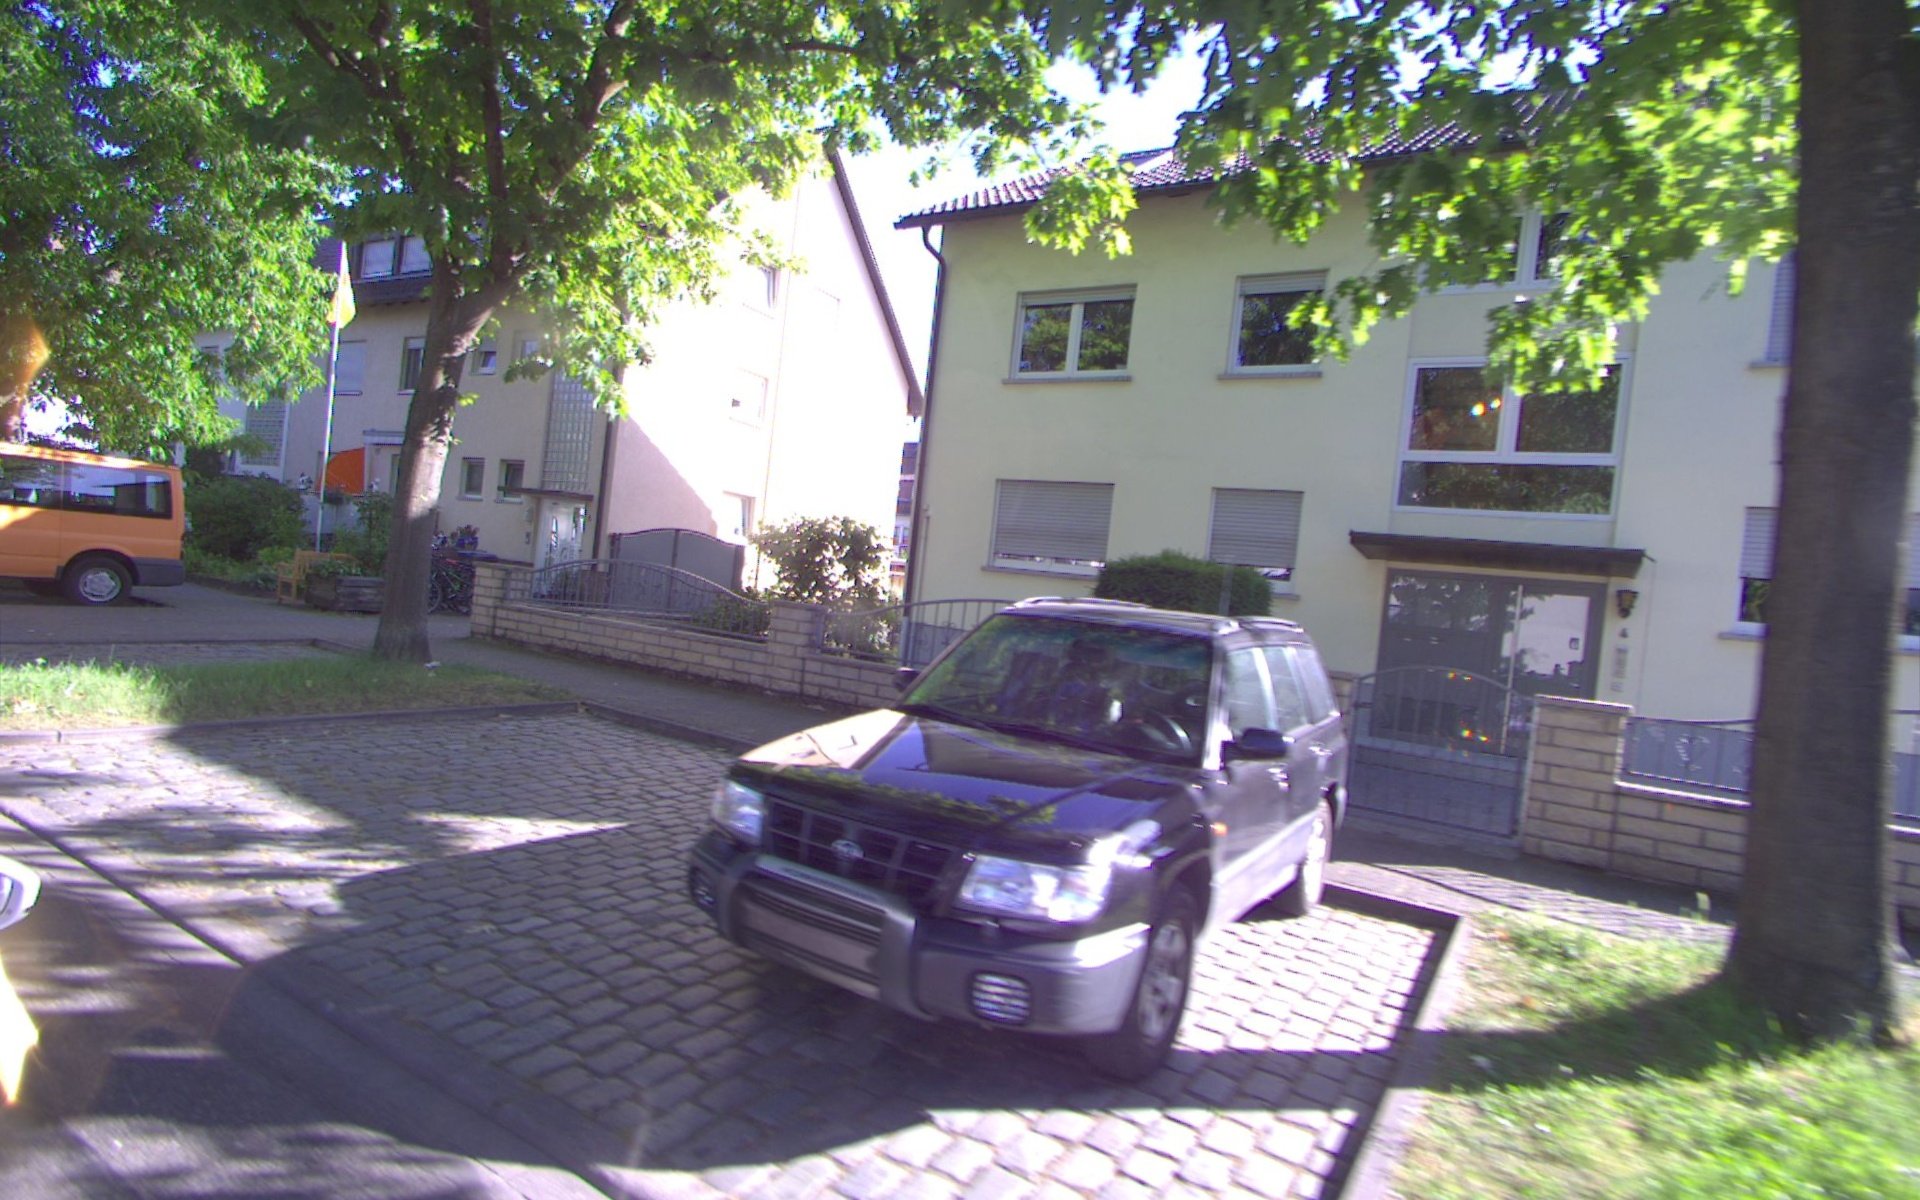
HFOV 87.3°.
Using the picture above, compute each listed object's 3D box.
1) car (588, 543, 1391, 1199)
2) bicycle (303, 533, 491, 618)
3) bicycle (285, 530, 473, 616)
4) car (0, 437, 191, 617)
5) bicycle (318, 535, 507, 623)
[{"bbox_3d":[0.686,0.781,4.799,1.836,1.580,4.341,7,1,31],"label":"car"},{"bbox_3d":[-9.440,-0.367,17.055,0.460,1.253,2.859,6,1,32],"label":"bicycle"},{"bbox_3d":[-9.876,-0.412,17.274,0.460,1.253,2.860,7,1,32],"label":"bicycle"},{"bbox_3d":[-12.963,-1.078,12.555,2.051,2.109,4.825,7,0,31],"label":"car"},{"bbox_3d":[-9.040,-0.304,16.796,0.460,1.253,2.860,6,1,32],"label":"bicycle"}]
